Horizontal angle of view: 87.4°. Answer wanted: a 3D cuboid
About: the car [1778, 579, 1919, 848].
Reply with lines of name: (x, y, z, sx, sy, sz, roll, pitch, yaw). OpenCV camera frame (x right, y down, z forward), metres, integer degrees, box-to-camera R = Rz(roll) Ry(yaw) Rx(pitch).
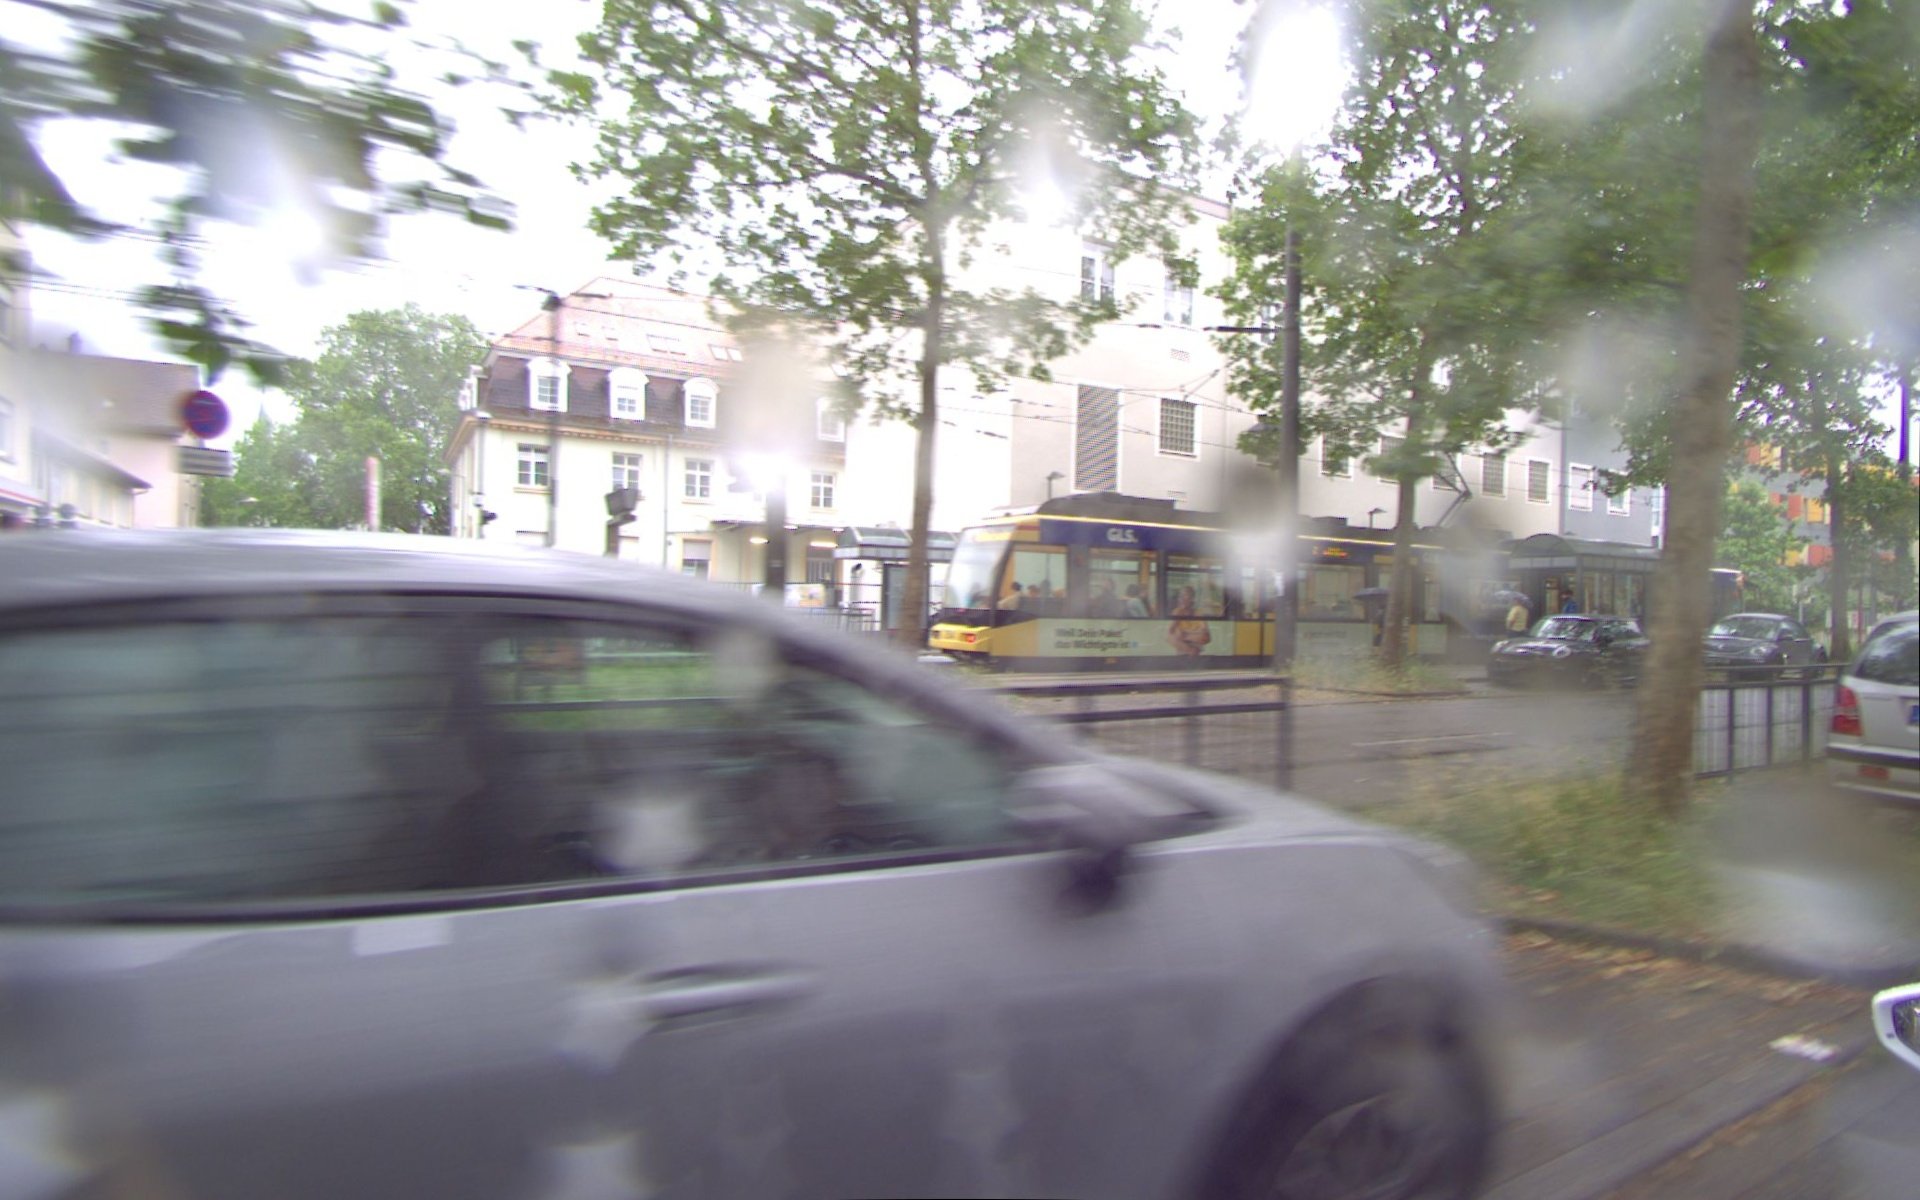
car: (7.646, 0.738, 7.294, 3.620, 1.704, 1.614, 0, 1, -34)

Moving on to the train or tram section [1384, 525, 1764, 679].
train or tram section: (18.198, 0.338, 28.974, 14.512, 3.605, 3.089, 3, -1, -32)

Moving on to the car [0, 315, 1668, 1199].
car: (-0.641, 0.584, 2.027, 4.302, 1.657, 1.691, 2, 0, -29)

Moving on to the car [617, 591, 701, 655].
car: (-8.107, 0.571, 26.859, 1.589, 1.562, 3.664, 1, 1, -26)

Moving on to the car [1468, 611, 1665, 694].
car: (11.841, 0.968, 19.577, 3.713, 1.361, 1.729, 1, 3, -32)

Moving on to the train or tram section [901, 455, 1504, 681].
train or tram section: (5.876, -0.232, 21.355, 14.413, 3.605, 3.090, 3, -1, -31)

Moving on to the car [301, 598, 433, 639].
car: (-20.752, 0.639, 35.252, 3.778, 1.242, 1.345, 2, 2, -3)

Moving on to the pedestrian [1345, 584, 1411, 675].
pedestrian: (8.162, 0.558, 19.629, 0.862, 1.726, 0.813, 1, 0, -31)

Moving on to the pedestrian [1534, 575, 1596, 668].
pedestrian: (13.662, 0.477, 22.678, 0.810, 2.040, 0.866, 1, 1, -27)

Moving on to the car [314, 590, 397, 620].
car: (-27.830, 0.228, 46.315, 2.970, 1.242, 1.343, 2, 2, -10)

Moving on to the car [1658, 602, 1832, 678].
car: (18.590, 0.906, 23.774, 3.955, 1.634, 1.983, 1, 0, -32)

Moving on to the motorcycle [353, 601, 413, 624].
motorcycle: (-19.276, 0.408, 33.565, 1.642, 0.719, 0.521, 2, -1, -3)

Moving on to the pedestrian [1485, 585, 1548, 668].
pedestrian: (11.785, 0.550, 21.287, 0.862, 1.726, 0.813, 1, 1, -31)
